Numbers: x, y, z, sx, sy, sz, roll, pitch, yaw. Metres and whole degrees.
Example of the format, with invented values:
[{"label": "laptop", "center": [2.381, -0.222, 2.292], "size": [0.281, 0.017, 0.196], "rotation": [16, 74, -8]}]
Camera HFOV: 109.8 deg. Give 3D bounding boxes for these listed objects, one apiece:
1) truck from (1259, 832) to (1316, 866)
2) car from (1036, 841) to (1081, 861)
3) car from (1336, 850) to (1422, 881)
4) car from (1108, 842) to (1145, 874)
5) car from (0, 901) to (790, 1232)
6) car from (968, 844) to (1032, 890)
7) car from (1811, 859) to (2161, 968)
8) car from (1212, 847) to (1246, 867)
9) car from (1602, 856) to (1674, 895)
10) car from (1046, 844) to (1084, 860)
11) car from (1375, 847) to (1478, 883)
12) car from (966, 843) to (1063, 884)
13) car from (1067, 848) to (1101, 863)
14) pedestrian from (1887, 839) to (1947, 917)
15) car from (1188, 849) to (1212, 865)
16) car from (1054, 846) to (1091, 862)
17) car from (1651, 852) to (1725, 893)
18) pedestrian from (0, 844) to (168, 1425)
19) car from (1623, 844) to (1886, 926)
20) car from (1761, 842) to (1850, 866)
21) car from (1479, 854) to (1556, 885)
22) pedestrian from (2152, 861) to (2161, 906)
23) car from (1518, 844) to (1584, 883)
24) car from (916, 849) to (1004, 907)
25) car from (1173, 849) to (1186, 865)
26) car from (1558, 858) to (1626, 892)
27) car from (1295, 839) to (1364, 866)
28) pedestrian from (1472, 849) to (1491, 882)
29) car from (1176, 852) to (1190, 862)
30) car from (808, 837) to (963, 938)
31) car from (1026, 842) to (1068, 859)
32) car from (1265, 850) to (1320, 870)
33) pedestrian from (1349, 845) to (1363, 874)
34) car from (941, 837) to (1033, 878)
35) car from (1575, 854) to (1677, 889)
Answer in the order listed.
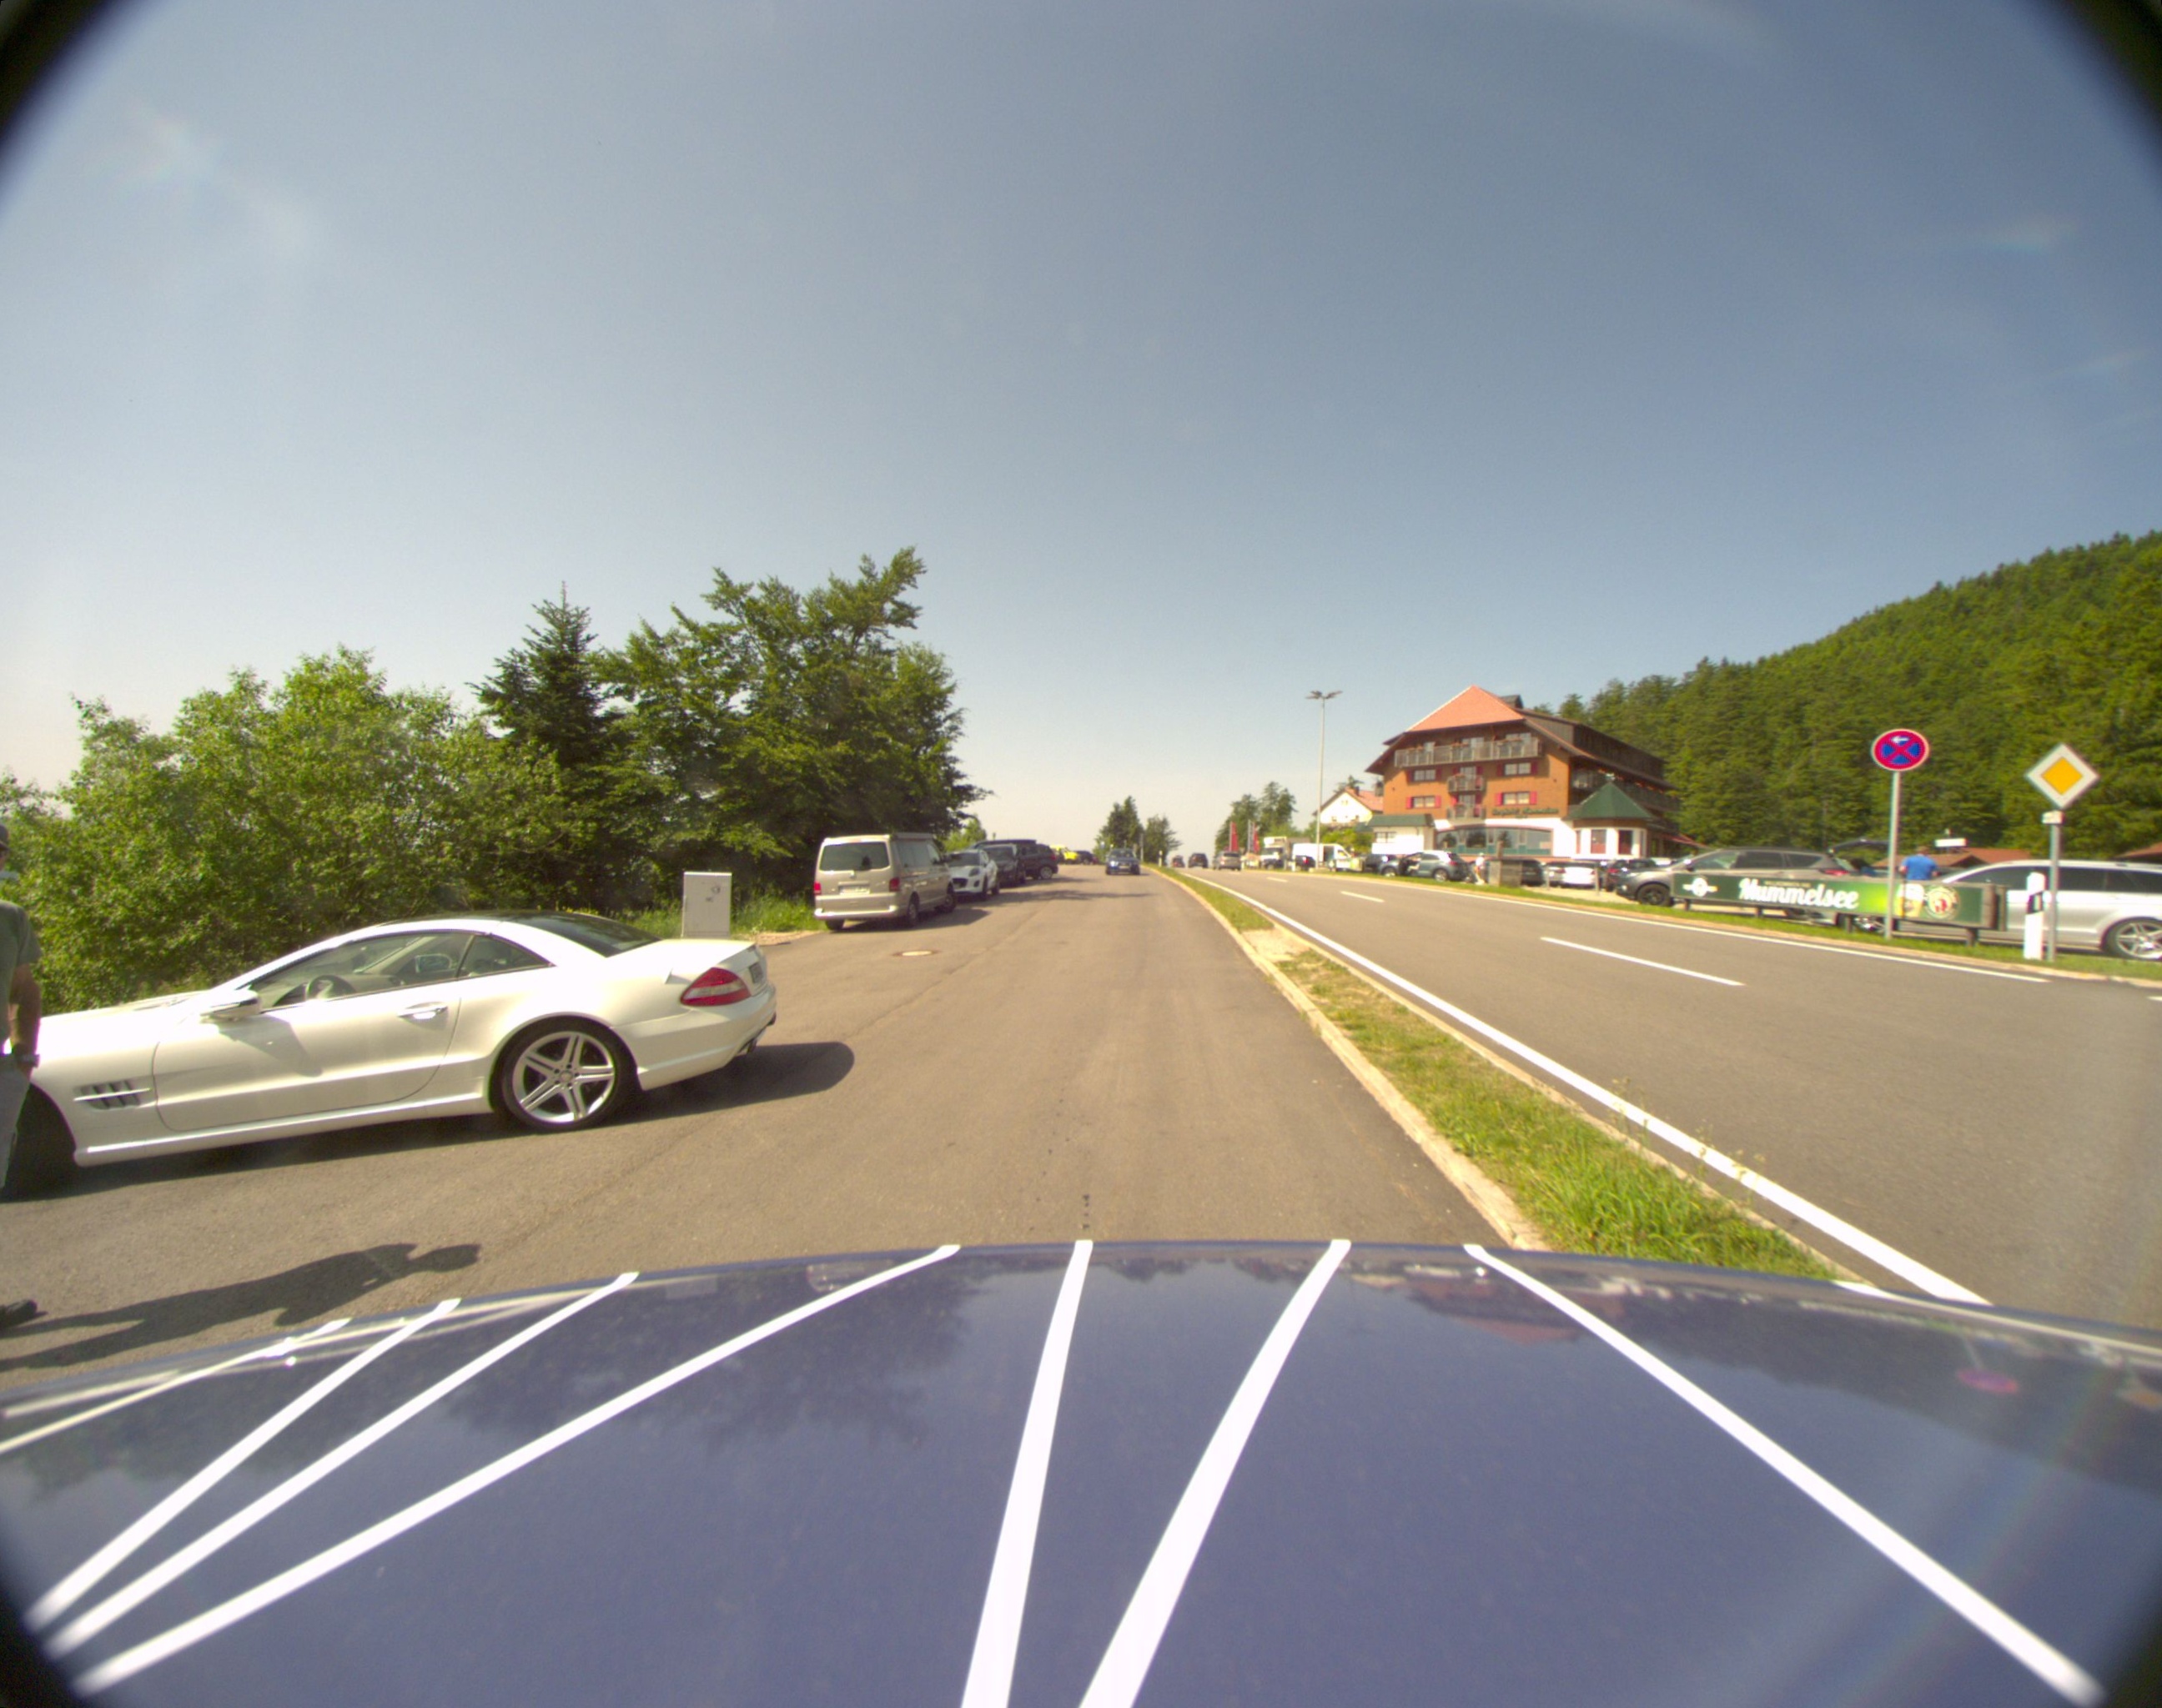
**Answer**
[{"label": "truck", "center": [24.703, -0.544, 90.569], "size": [2.876, 3.798, 9.036], "rotation": [0, 0, 40]}, {"label": "car", "center": [-2.290, -0.351, 77.849], "size": [4.455, 1.914, 1.877], "rotation": [1, 1, 5]}, {"label": "car", "center": [17.454, 0.620, 44.670], "size": [1.828, 1.619, 4.258], "rotation": [0, 2, -45]}, {"label": "car", "center": [2.403, 0.185, 40.841], "size": [1.874, 1.605, 3.913], "rotation": [1, 1, 3]}, {"label": "car", "center": [-4.321, 1.123, 4.772], "size": [4.414, 1.288, 1.754], "rotation": [-3, 0, -15]}, {"label": "car", "center": [-3.088, 0.450, 29.808], "size": [1.875, 1.609, 4.000], "rotation": [-2, 1, 2]}, {"label": "car", "center": [15.095, 0.879, 12.425], "size": [4.488, 1.422, 1.726], "rotation": [3, 2, 45]}, {"label": "car", "center": [11.460, 0.206, 59.156], "size": [1.883, 1.466, 4.714], "rotation": [-1, 1, 3]}, {"label": "car", "center": [25.629, 0.945, 34.896], "size": [4.103, 1.619, 1.818], "rotation": [0, 2, -42]}, {"label": "car", "center": [-1.697, -0.180, 81.195], "size": [3.908, 1.605, 1.877], "rotation": [1, 1, 5]}, {"label": "car", "center": [17.198, 0.502, 37.959], "size": [1.828, 1.619, 4.258], "rotation": [0, 2, -45]}, {"label": "car", "center": [-3.019, 0.384, 34.229], "size": [4.002, 1.609, 1.873], "rotation": [-3, 1, -17]}, {"label": "car", "center": [0.385, 0.176, 90.756], "size": [3.908, 1.605, 1.877], "rotation": [1, 1, 5]}, {"label": "pedestrian", "center": [18.054, 0.495, 16.427], "size": [0.744, 1.626, 0.849], "rotation": [2, 2, 43]}, {"label": "car", "center": [12.733, 0.295, 81.369], "size": [1.998, 1.638, 4.567], "rotation": [1, 1, 3]}, {"label": "car", "center": [-0.919, -0.020, 83.860], "size": [3.908, 1.605, 1.877], "rotation": [1, 1, 5]}, {"label": "car", "center": [26.477, 0.754, 33.118], "size": [4.103, 1.619, 1.818], "rotation": [0, 2, -42]}, {"label": "pedestrian", "center": [-3.743, 0.881, 2.374], "size": [0.736, 1.790, 0.748], "rotation": [-2, 2, -4]}, {"label": "car", "center": [16.033, 0.644, 18.353], "size": [4.538, 1.646, 1.726], "rotation": [3, 2, 44]}, {"label": "car", "center": [55.867, -0.011, 58.631], "size": [1.924, 1.706, 4.831], "rotation": [0, 2, -43]}, {"label": "car", "center": [22.074, 0.745, 38.617], "size": [1.720, 1.422, 4.000], "rotation": [2, 1, 3]}, {"label": "pedestrian", "center": [40.497, 1.107, 28.100], "size": [0.782, 1.646, 0.881], "rotation": [2, 2, 41]}, {"label": "car", "center": [25.548, 0.462, 41.248], "size": [4.008, 2.002, 1.994], "rotation": [0, 2, -42]}, {"label": "car", "center": [-3.631, 0.676, 23.531], "size": [1.875, 1.538, 4.000], "rotation": [-2, 1, 2]}, {"label": "car", "center": [17.487, 0.557, 135.107], "size": [2.015, 2.735, 5.918], "rotation": [1, 1, 5]}, {"label": "car", "center": [25.332, 1.000, 37.620], "size": [4.103, 1.504, 1.818], "rotation": [0, 2, -42]}, {"label": "car", "center": [27.166, -0.187, 83.165], "size": [6.948, 2.775, 2.671], "rotation": [1, 1, 21]}, {"label": "pedestrian", "center": [20.179, 0.564, 38.305], "size": [0.744, 1.615, 0.684], "rotation": [2, 2, 32]}, {"label": "car", "center": [15.320, 0.459, 114.503], "size": [1.710, 1.429, 4.450], "rotation": [1, 1, 2]}, {"label": "car", "center": [-4.229, 0.632, 17.319], "size": [1.861, 1.924, 4.610], "rotation": [-3, 1, 6]}, {"label": "car", "center": [-3.373, -0.319, 75.326], "size": [3.908, 1.605, 1.877], "rotation": [1, 1, 5]}, {"label": "car", "center": [17.965, 0.485, 64.530], "size": [4.082, 1.518, 1.828], "rotation": [2, 2, 42]}, {"label": "pedestrian", "center": [19.182, 0.397, 53.016], "size": [0.717, 2.002, 0.803], "rotation": [0, 1, 1]}, {"label": "car", "center": [-4.964, 0.172, 39.962], "size": [4.463, 1.914, 1.873], "rotation": [-3, 1, -17]}, {"label": "car", "center": [28.873, 0.879, 40.300], "size": [1.828, 1.619, 4.082], "rotation": [0, 2, -45]}]
